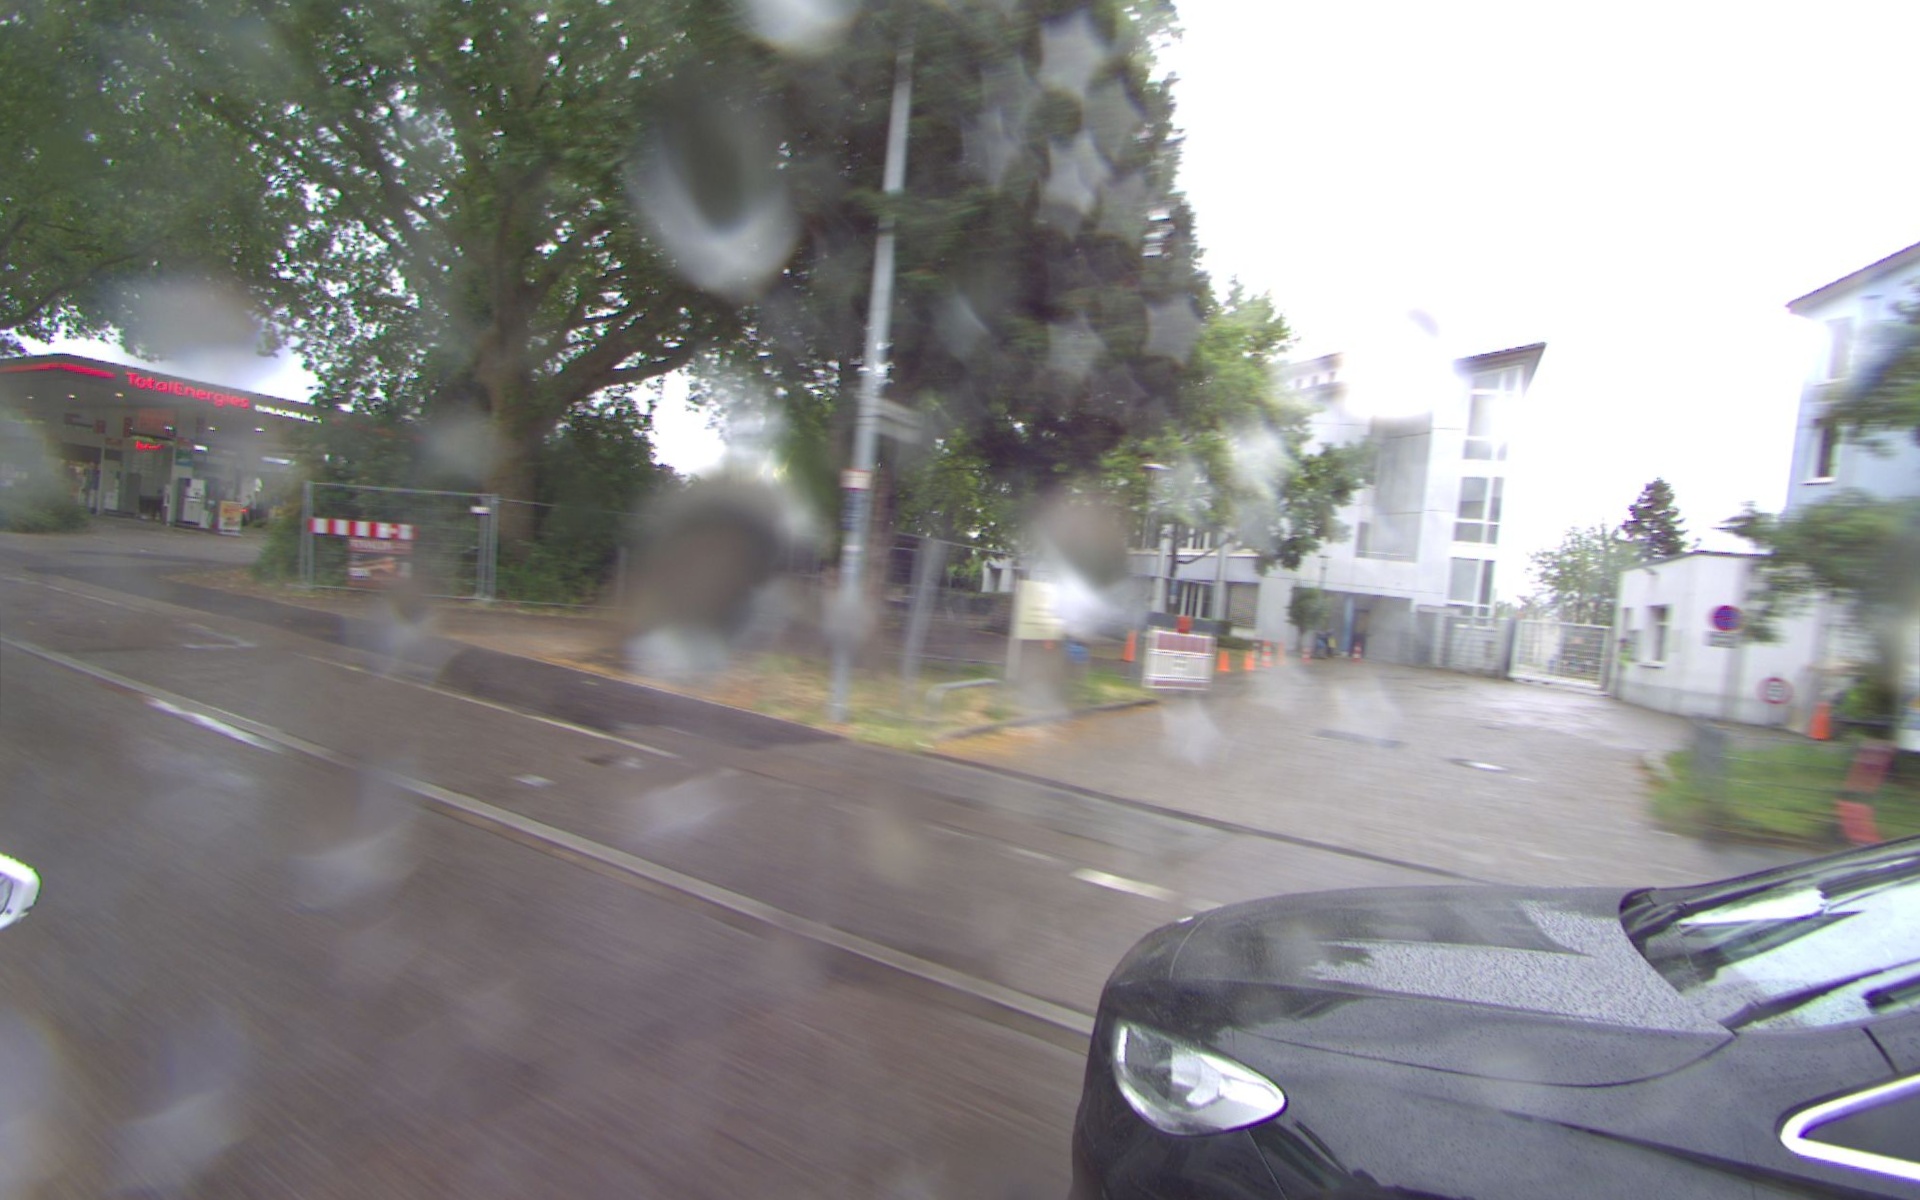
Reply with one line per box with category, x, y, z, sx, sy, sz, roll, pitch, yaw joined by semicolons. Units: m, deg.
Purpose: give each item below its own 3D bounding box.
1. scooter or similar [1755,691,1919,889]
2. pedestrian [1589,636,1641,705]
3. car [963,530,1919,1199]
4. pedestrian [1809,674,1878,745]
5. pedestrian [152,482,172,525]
scooter or similar;7.393;1.481;7.945;0.699;1.329;1.551;1;3;-18
pedestrian;18.113;1.927;27.845;0.909;1.759;0.928;7;2;24
car;2.227;0.883;1.561;4.020;1.543;1.871;7;1;33
pedestrian;18.357;2.264;20.921;0.693;1.312;0.859;7;2;22
pedestrian;-33.435;-4.040;42.142;0.551;1.748;0.717;4;3;-39
